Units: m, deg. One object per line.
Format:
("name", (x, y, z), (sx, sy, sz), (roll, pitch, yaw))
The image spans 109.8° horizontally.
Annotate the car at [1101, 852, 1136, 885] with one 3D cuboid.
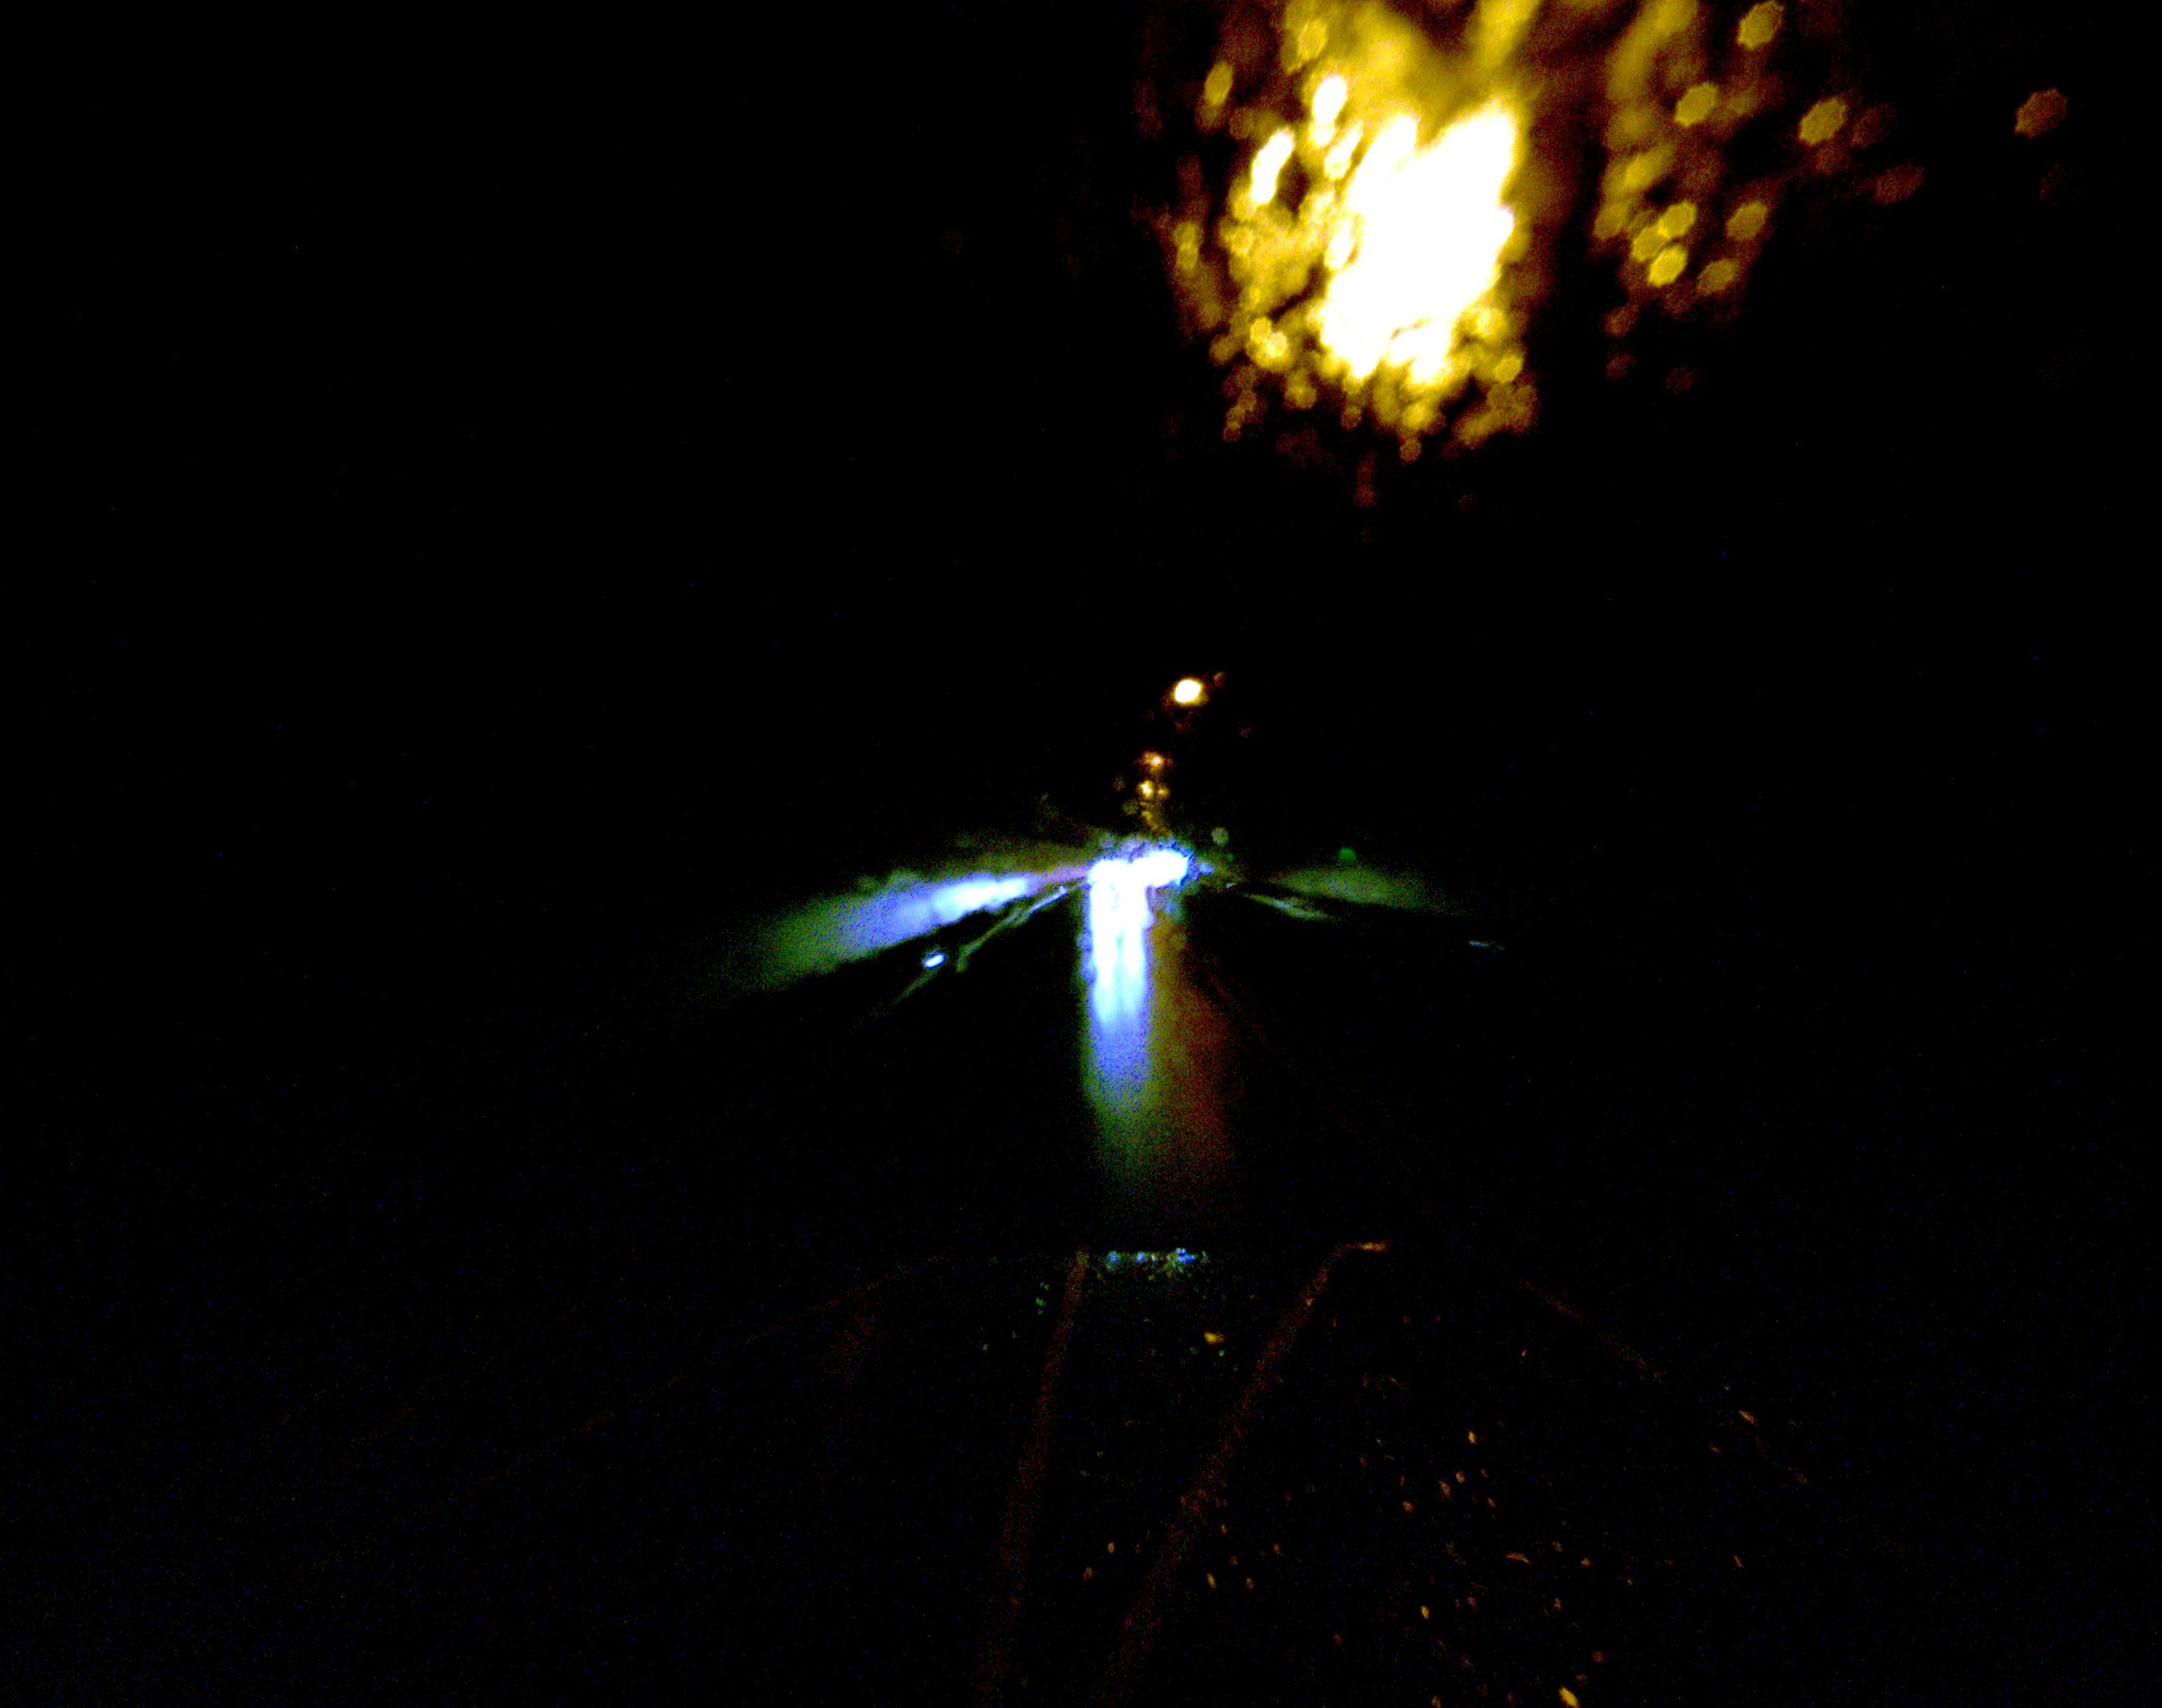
("car", (2.172, 0.777, 42.873), (1.729, 1.595, 4.001), (-5, 1, 5))
